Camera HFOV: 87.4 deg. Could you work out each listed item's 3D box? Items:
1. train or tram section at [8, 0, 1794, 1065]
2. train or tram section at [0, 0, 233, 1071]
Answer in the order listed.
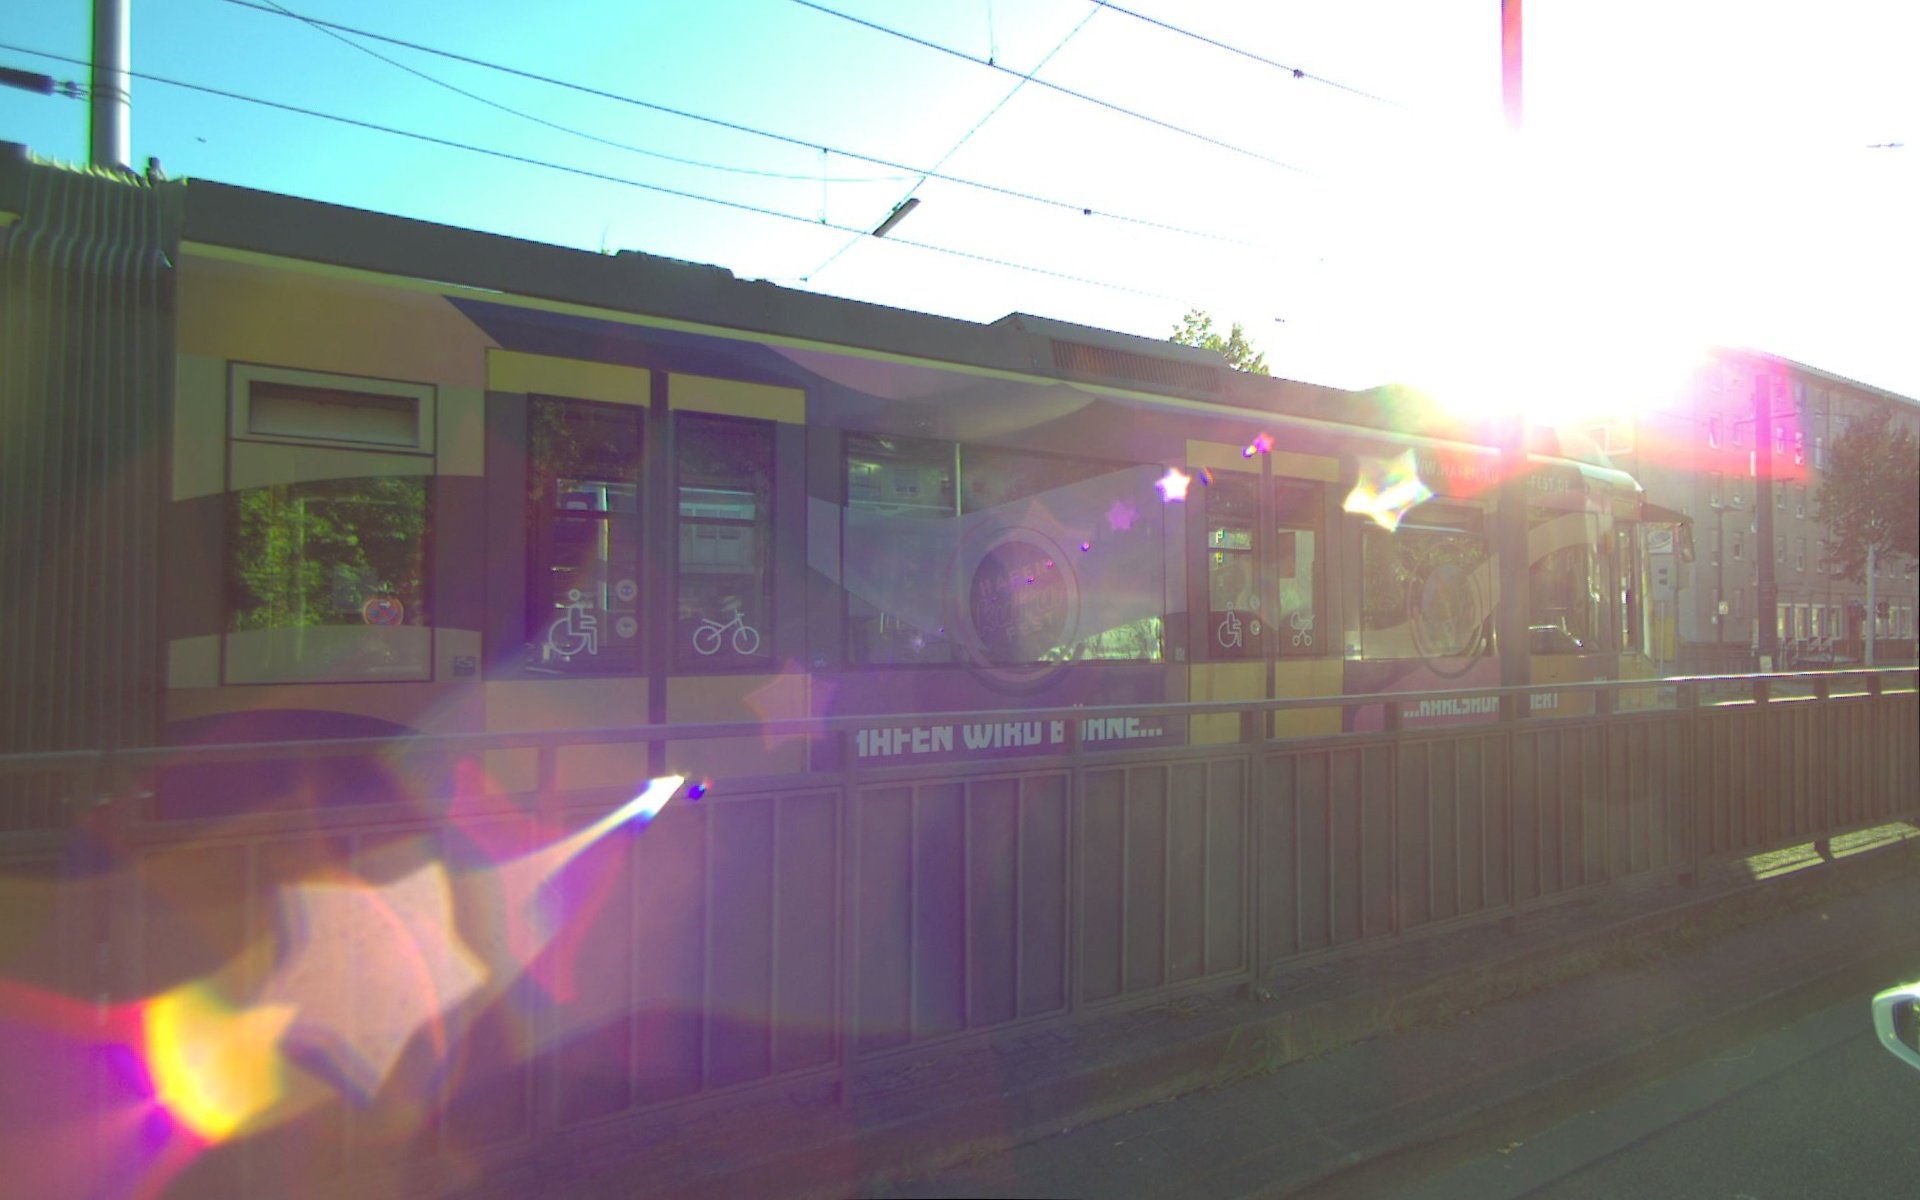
[{"bbox_3d":[1.956,-0.130,7.781,13.177,3.565,2.628,1,-2,-31],"label":"train or tram section"},{"bbox_3d":[-8.960,-0.365,1.347,12.635,3.596,2.716,1,-2,-31],"label":"train or tram section"}]
